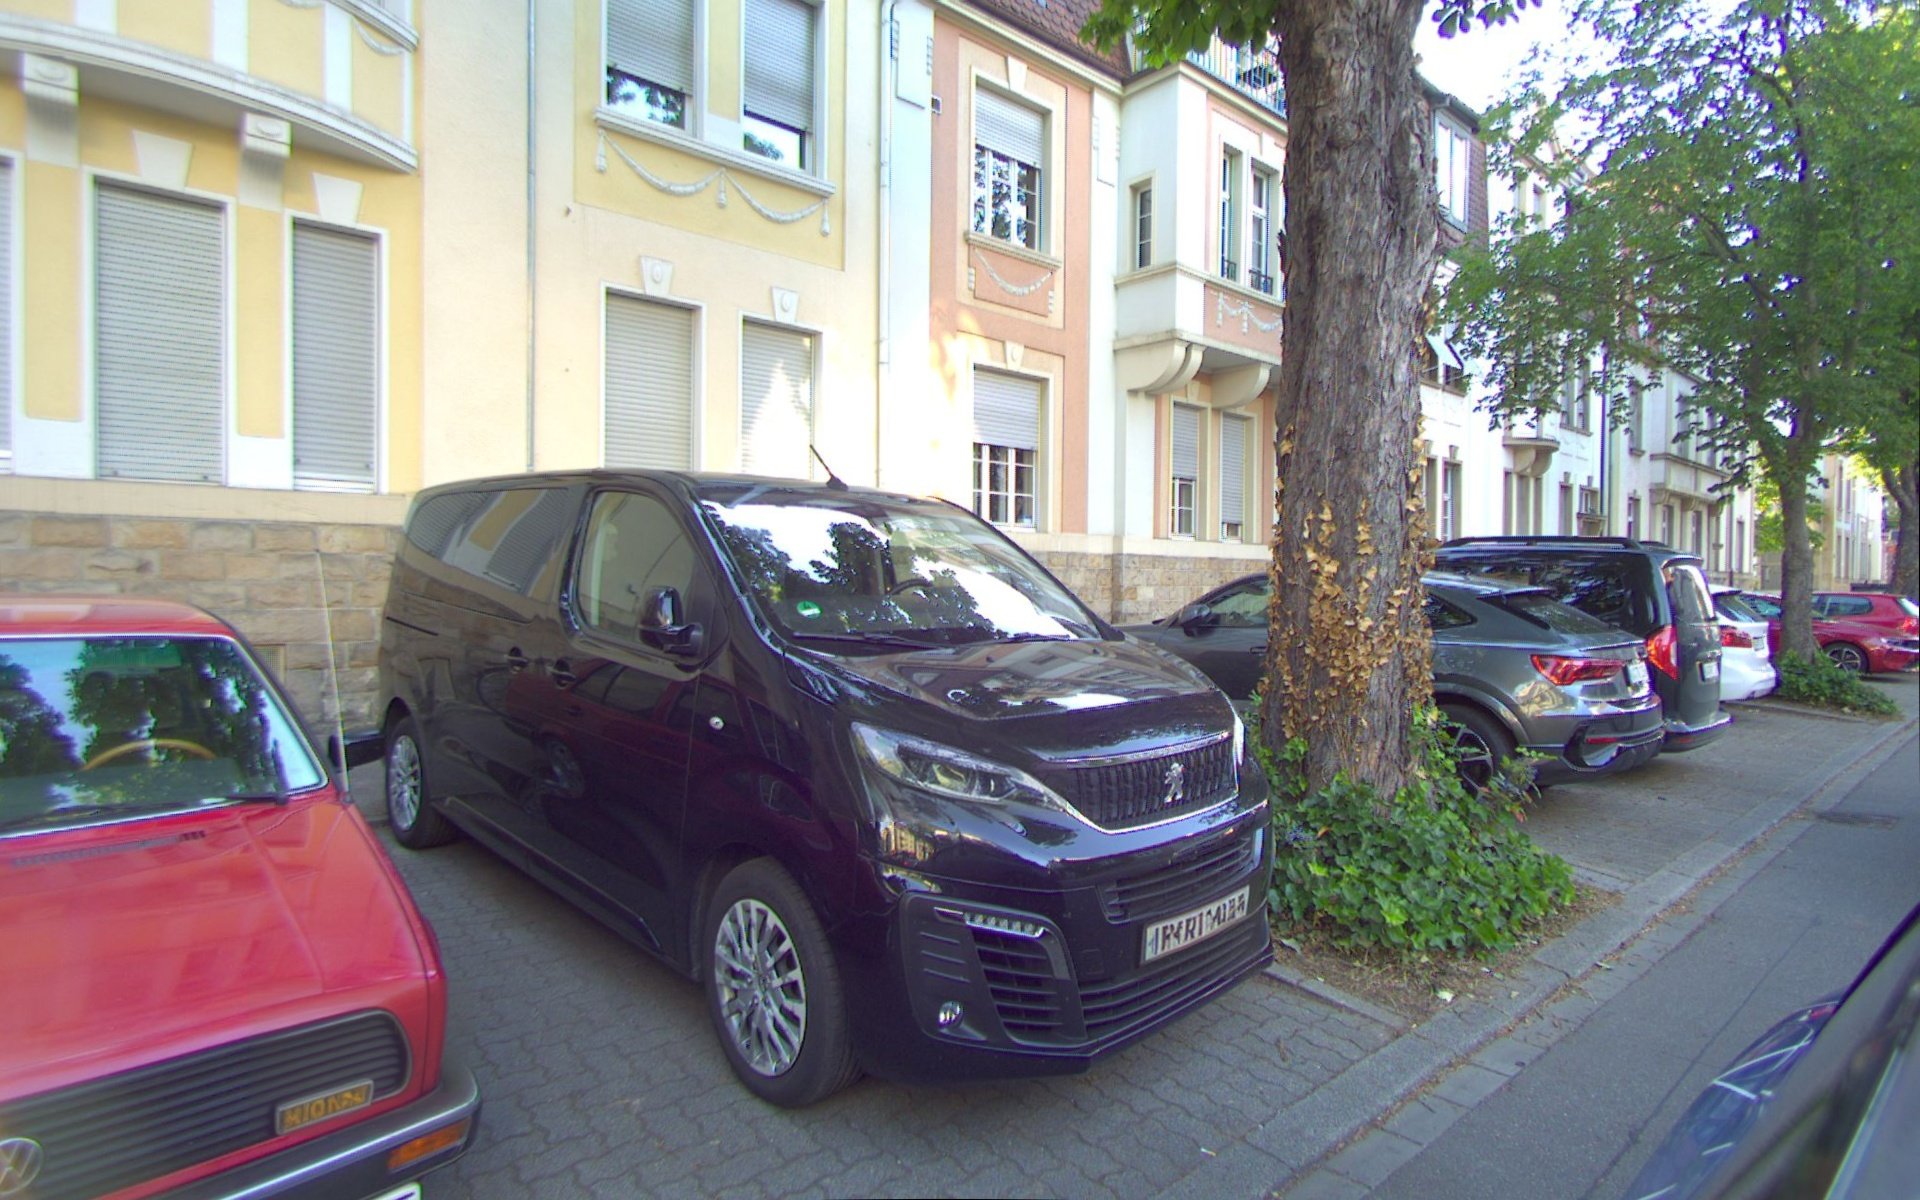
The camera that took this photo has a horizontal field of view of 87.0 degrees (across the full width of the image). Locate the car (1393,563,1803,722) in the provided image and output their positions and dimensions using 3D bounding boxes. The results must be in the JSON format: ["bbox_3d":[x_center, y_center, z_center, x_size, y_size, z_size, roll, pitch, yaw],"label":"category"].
[{"bbox_3d":[7.702,0.378,12.517,1.689,1.597,3.948,0,3,-41],"label":"car"}]

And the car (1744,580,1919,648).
[{"bbox_3d":[21.853,0.300,24.966,1.548,1.484,3.681,0,3,-39],"label":"car"}]

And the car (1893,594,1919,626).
[{"bbox_3d":[34.276,0.383,34.523,1.515,1.076,3.400,0,3,-39],"label":"car"}]

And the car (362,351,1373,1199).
[{"bbox_3d":[-0.939,0.326,4.467,1.867,1.897,4.753,-1,3,-44],"label":"car"}]

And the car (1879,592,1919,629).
[{"bbox_3d":[31.895,0.383,32.460,1.515,1.164,3.400,0,3,-39],"label":"car"}]

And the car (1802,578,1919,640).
[{"bbox_3d":[25.870,0.235,28.025,1.548,1.576,3.681,0,3,-39],"label":"car"}]

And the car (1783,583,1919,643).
[{"bbox_3d":[24.004,0.322,26.404,1.548,1.416,3.681,0,3,-39],"label":"car"}]

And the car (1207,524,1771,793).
[{"bbox_3d":[4.518,0.309,9.138,1.814,1.860,4.116,0,3,-42],"label":"car"}]

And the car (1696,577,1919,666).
[{"bbox_3d":[16.895,0.356,19.811,1.628,1.499,3.682,0,3,-38],"label":"car"}]

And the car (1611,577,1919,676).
[{"bbox_3d":[14.785,0.385,18.455,1.833,1.470,4.533,0,3,-38],"label":"car"}]

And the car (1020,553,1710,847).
[{"bbox_3d":[2.744,0.455,7.694,1.815,1.542,4.513,-1,3,-44],"label":"car"}]

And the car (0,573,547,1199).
[{"bbox_3d":[-2.875,0.629,3.027,1.603,1.332,4.140,-1,3,-44],"label":"car"}]
